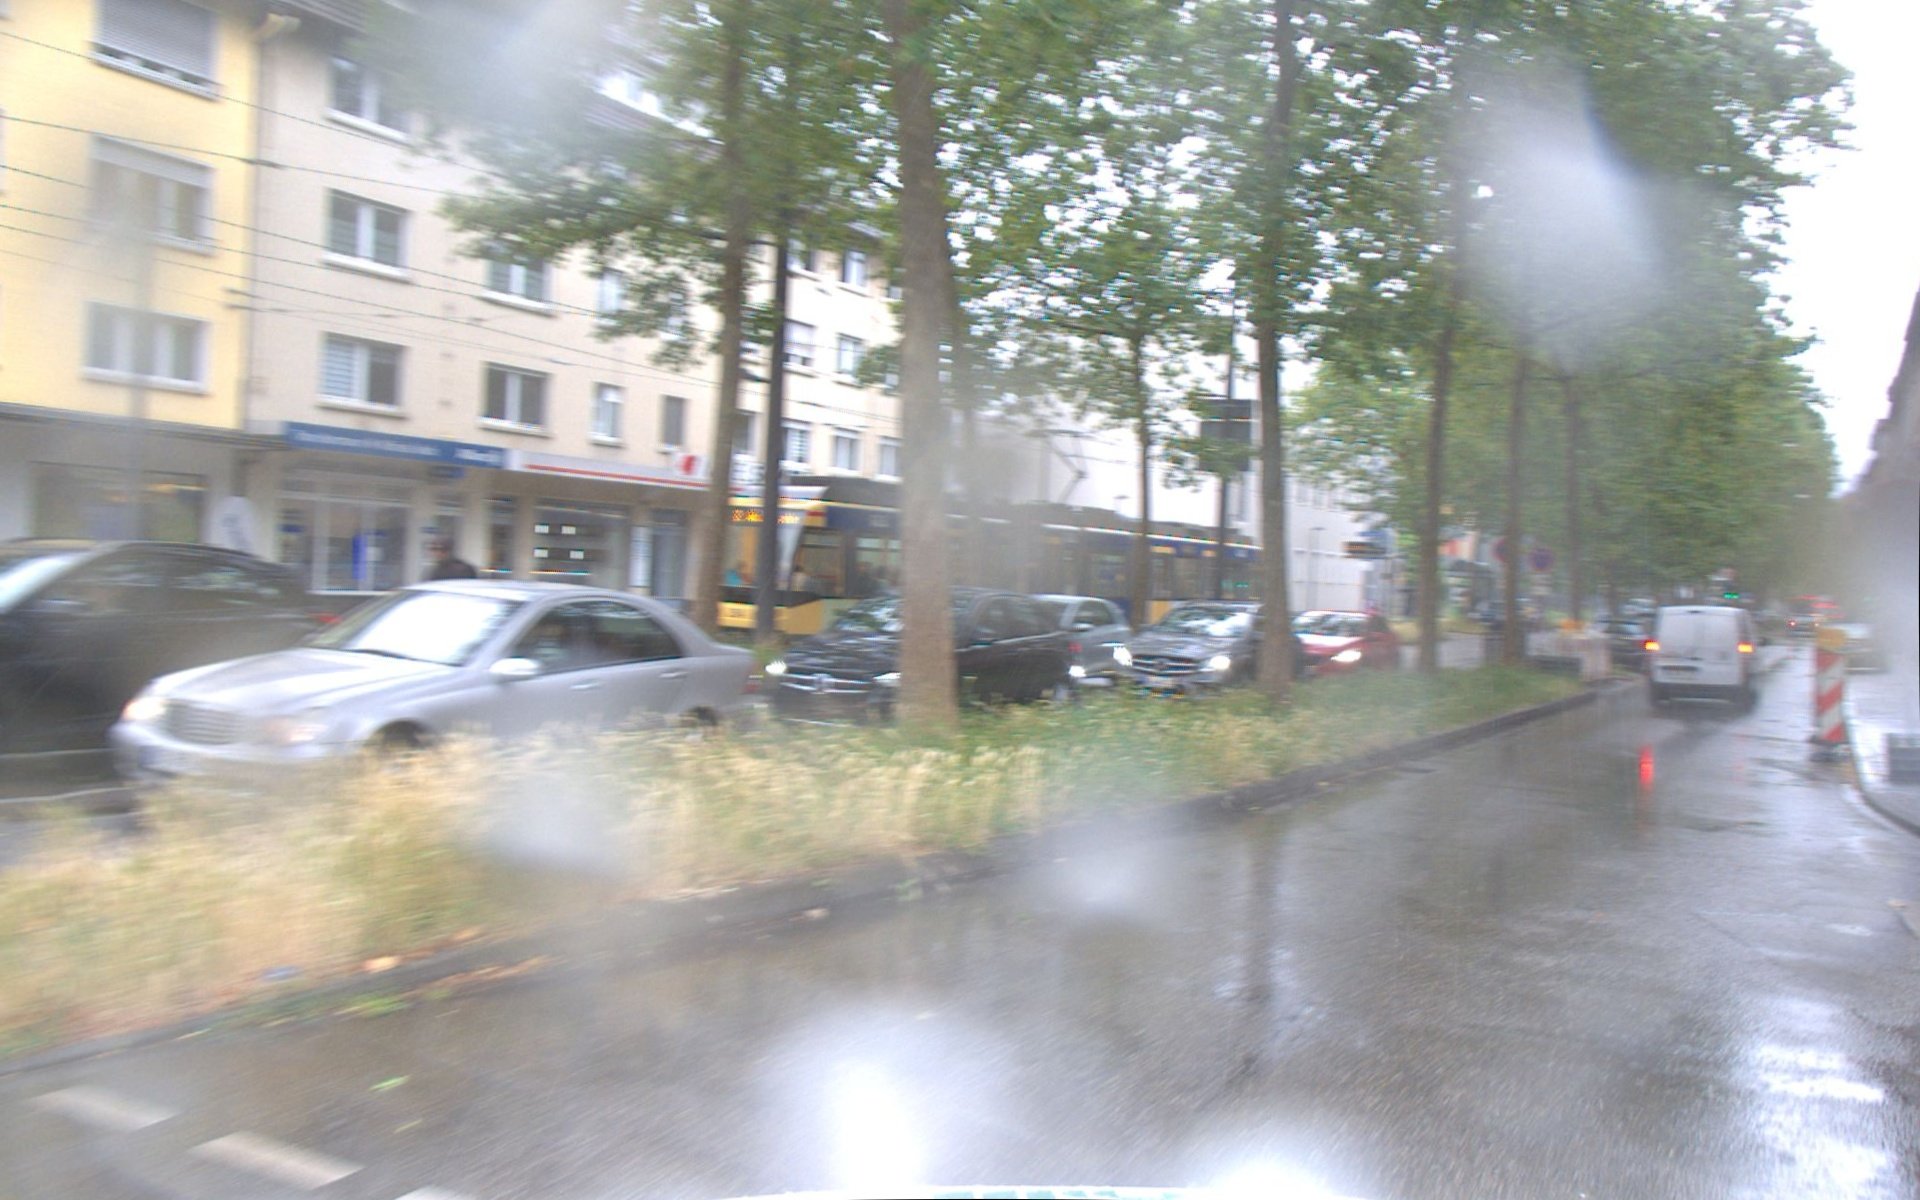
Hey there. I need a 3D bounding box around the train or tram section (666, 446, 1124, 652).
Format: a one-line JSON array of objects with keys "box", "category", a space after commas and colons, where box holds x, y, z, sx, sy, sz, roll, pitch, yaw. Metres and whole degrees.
[{"box": [-0.640, -0.795, 36.267, 3.047, 3.620, 14.557, 3, 0, 28], "category": "train or tram section"}]

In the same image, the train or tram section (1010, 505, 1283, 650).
[{"box": [6.030, -0.448, 49.262, 3.046, 3.620, 14.657, 3, 0, 27], "category": "train or tram section"}]

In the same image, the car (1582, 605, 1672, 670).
[{"box": [17.946, 0.978, 44.387, 1.794, 1.529, 4.608, 4, 1, 27], "category": "car"}]

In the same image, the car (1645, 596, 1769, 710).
[{"box": [13.610, 0.948, 30.131, 1.866, 1.828, 4.110, 3, 0, 25], "category": "car"}]

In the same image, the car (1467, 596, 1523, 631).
[{"box": [23.988, 0.594, 74.074, 1.706, 1.366, 3.751, 6, 2, 27], "category": "car"}]

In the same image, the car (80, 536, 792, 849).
[{"box": [-3.039, 0.454, 10.683, 1.701, 1.515, 4.495, 3, 1, 26], "category": "car"}]

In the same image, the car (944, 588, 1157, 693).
[{"box": [1.507, 0.591, 25.913, 1.708, 1.422, 4.124, 3, 1, 28], "category": "car"}]

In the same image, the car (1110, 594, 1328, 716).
[{"box": [3.837, 0.723, 23.841, 1.708, 1.506, 4.425, 3, 1, 28], "category": "car"}]

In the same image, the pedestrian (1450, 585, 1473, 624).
[{"box": [22.773, 0.206, 75.066, 0.802, 1.733, 0.871, 3, 1, 27], "category": "pedestrian"}]

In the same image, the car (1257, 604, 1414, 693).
[{"box": [6.929, 0.835, 30.196, 1.708, 1.422, 4.227, 3, 1, 28], "category": "car"}]

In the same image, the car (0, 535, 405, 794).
[{"box": [-6.022, 0.346, 11.253, 1.836, 1.528, 4.282, 3, 1, 23], "category": "car"}]

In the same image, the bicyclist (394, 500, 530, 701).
[{"box": [-4.520, 0.007, 15.042, 0.698, 1.746, 0.889, 2, -1, 25], "category": "bicyclist"}]

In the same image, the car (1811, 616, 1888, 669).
[{"box": [25.879, 1.208, 48.047, 1.780, 1.446, 4.686, -1, -1, 30], "category": "car"}]

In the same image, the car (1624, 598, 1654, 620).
[{"box": [56.092, 0.732, 136.655, 1.952, 1.608, 4.001, 3, 1, 19], "category": "car"}]

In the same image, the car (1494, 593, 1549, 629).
[{"box": [27.599, 0.515, 81.245, 1.955, 1.640, 3.995, 3, 1, 27], "category": "car"}]

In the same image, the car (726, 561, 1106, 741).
[{"box": [-0.270, 0.447, 17.022, 1.821, 1.511, 4.633, 3, 1, 28], "category": "car"}]
